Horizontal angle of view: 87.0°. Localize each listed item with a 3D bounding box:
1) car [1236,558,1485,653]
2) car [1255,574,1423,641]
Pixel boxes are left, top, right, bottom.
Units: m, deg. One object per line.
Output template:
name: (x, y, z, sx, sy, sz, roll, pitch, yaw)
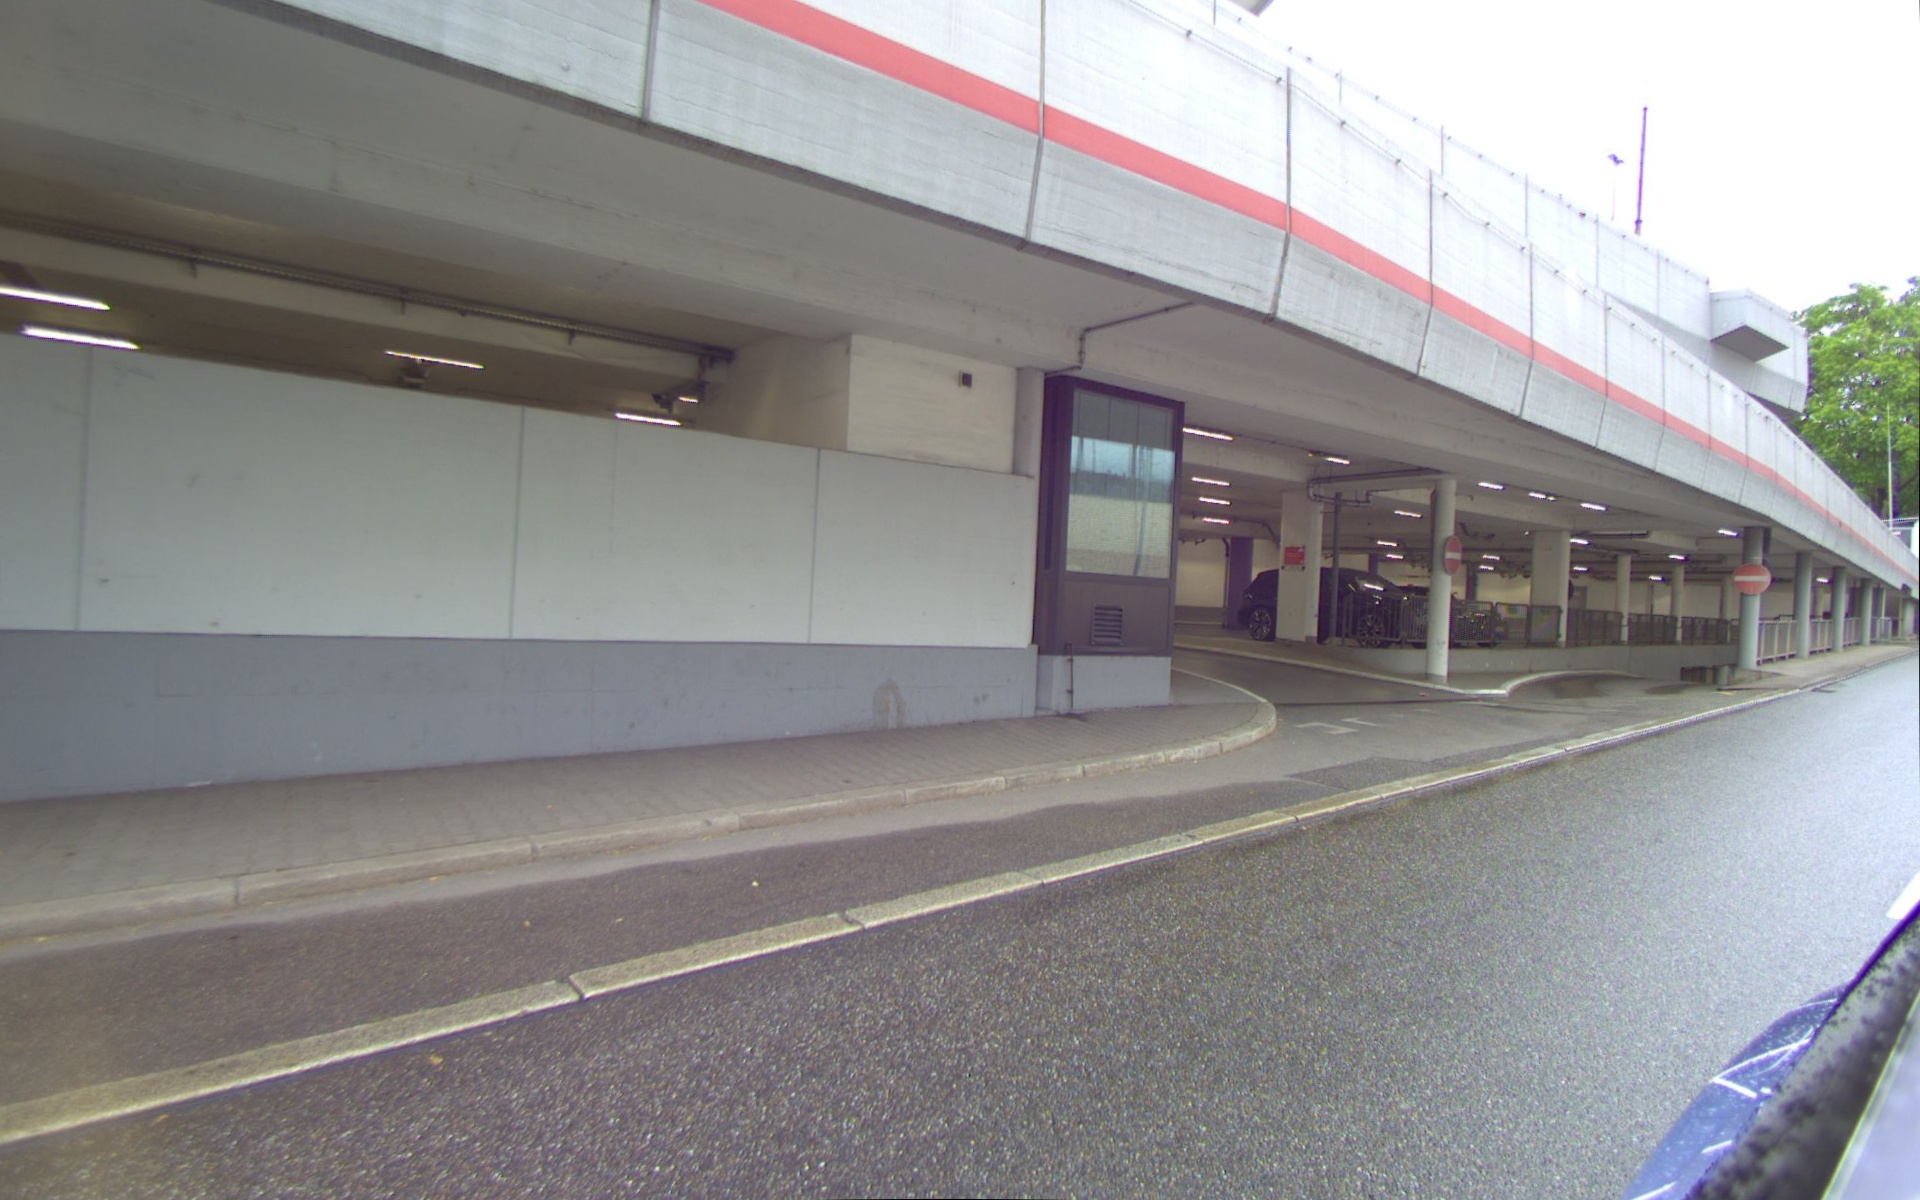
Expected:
car: (8.237, 0.046, 21.246, 1.787, 1.660, 4.594, 2, 2, -34)
car: (9.836, 0.165, 26.480, 1.772, 1.524, 3.736, 2, 1, -35)
